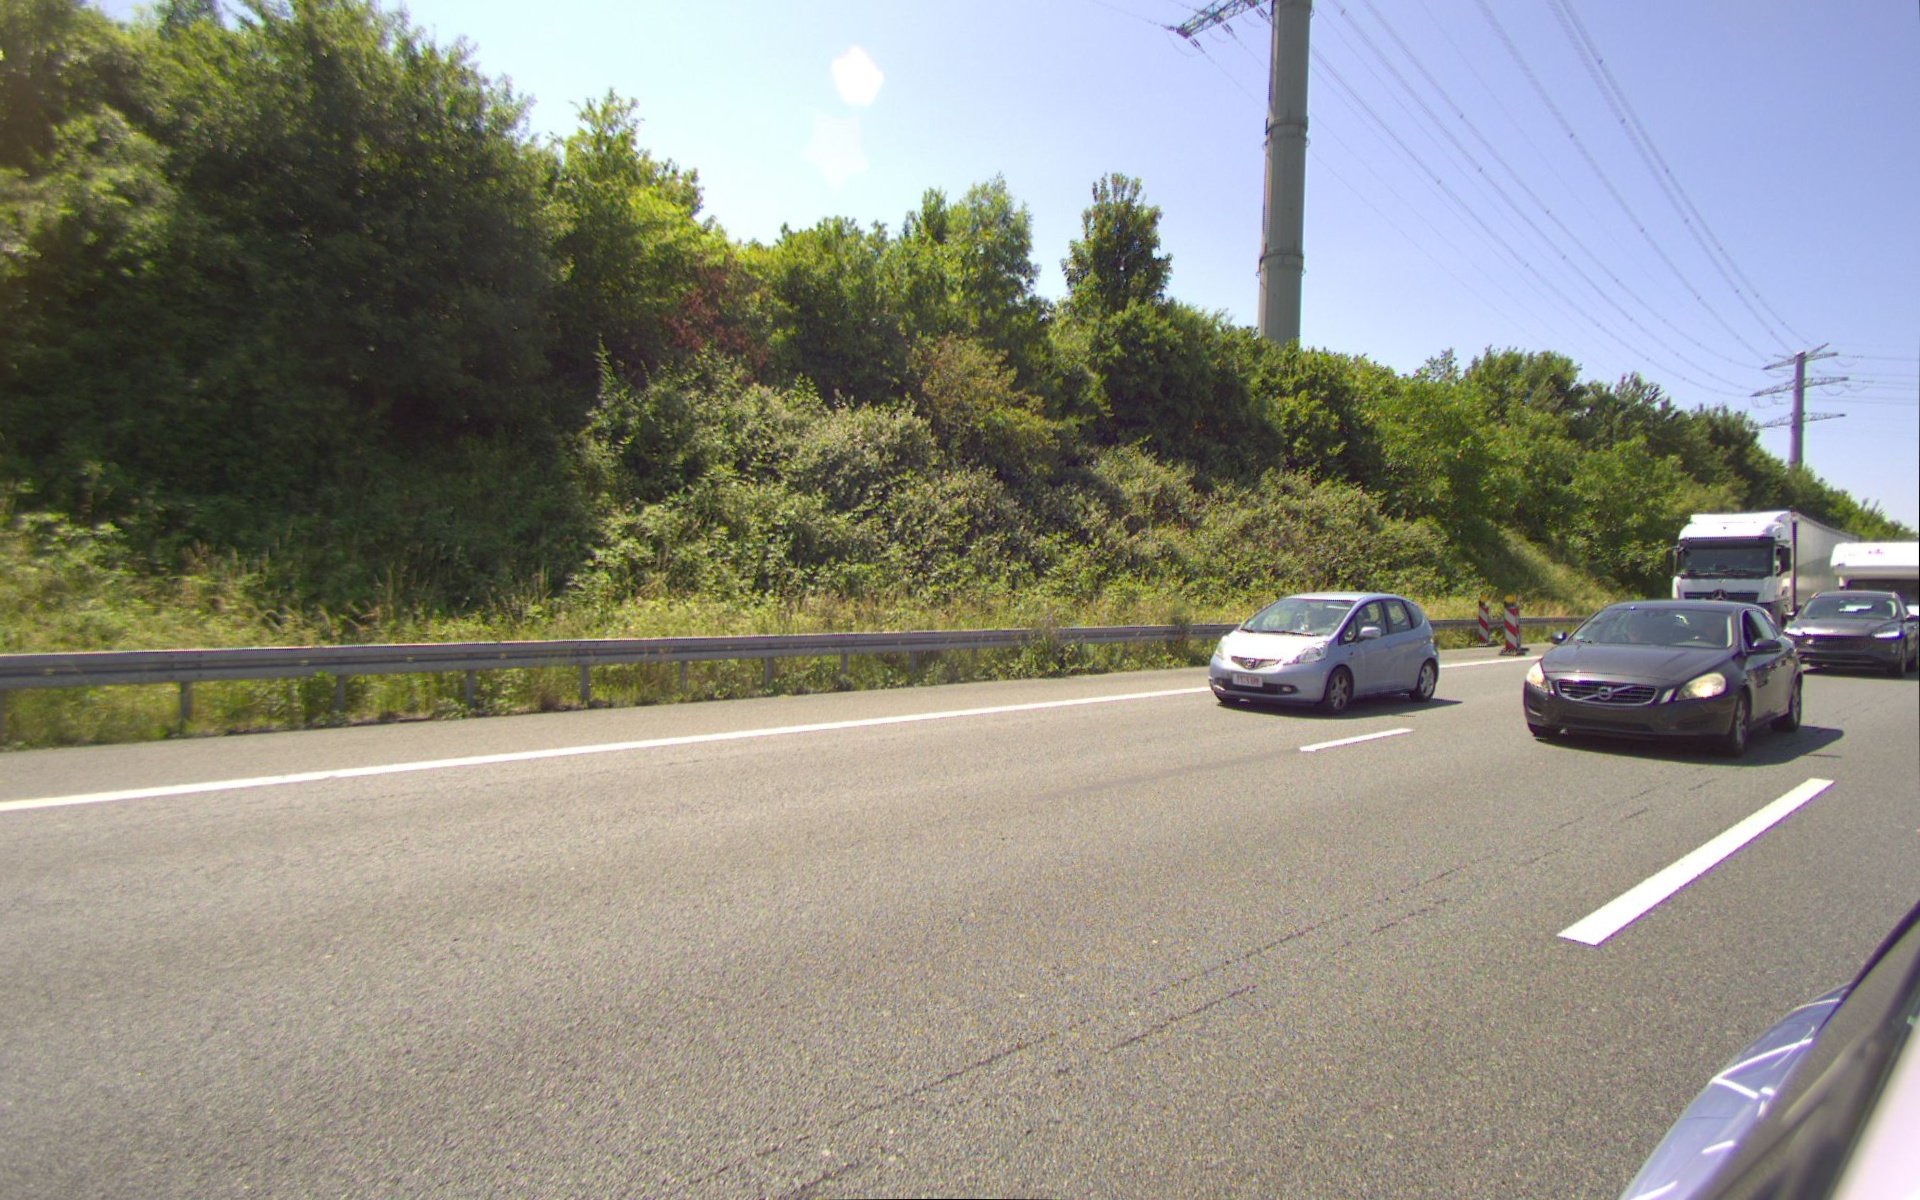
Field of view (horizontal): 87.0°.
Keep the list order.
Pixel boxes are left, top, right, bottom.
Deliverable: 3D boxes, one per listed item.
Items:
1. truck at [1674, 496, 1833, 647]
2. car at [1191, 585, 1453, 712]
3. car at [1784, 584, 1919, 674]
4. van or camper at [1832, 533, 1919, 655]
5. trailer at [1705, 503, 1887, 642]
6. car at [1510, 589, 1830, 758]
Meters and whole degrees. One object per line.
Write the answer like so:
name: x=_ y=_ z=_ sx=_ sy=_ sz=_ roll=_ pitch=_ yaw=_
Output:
truck: x=23.942 y=-0.811 z=30.457 sx=5.692 sy=4.098 sz=2.738 roll=-1 pitch=0 yaw=-41
car: x=4.921 y=0.541 z=13.552 sx=3.721 sy=1.466 sz=1.704 roll=-1 pitch=0 yaw=-41
car: x=18.356 y=0.504 z=20.496 sx=4.146 sy=1.631 sz=1.892 roll=-1 pitch=0 yaw=-41
van or camper: x=26.766 y=-0.199 z=28.441 sx=7.499 sy=3.082 sz=2.373 roll=-1 pitch=0 yaw=-41
trailer: x=29.328 y=-0.884 z=35.145 sx=12.883 sy=4.098 sz=2.788 roll=-1 pitch=0 yaw=-41
car: x=7.739 y=0.613 z=10.864 sx=4.431 sy=1.437 sz=1.798 roll=-1 pitch=0 yaw=-41
